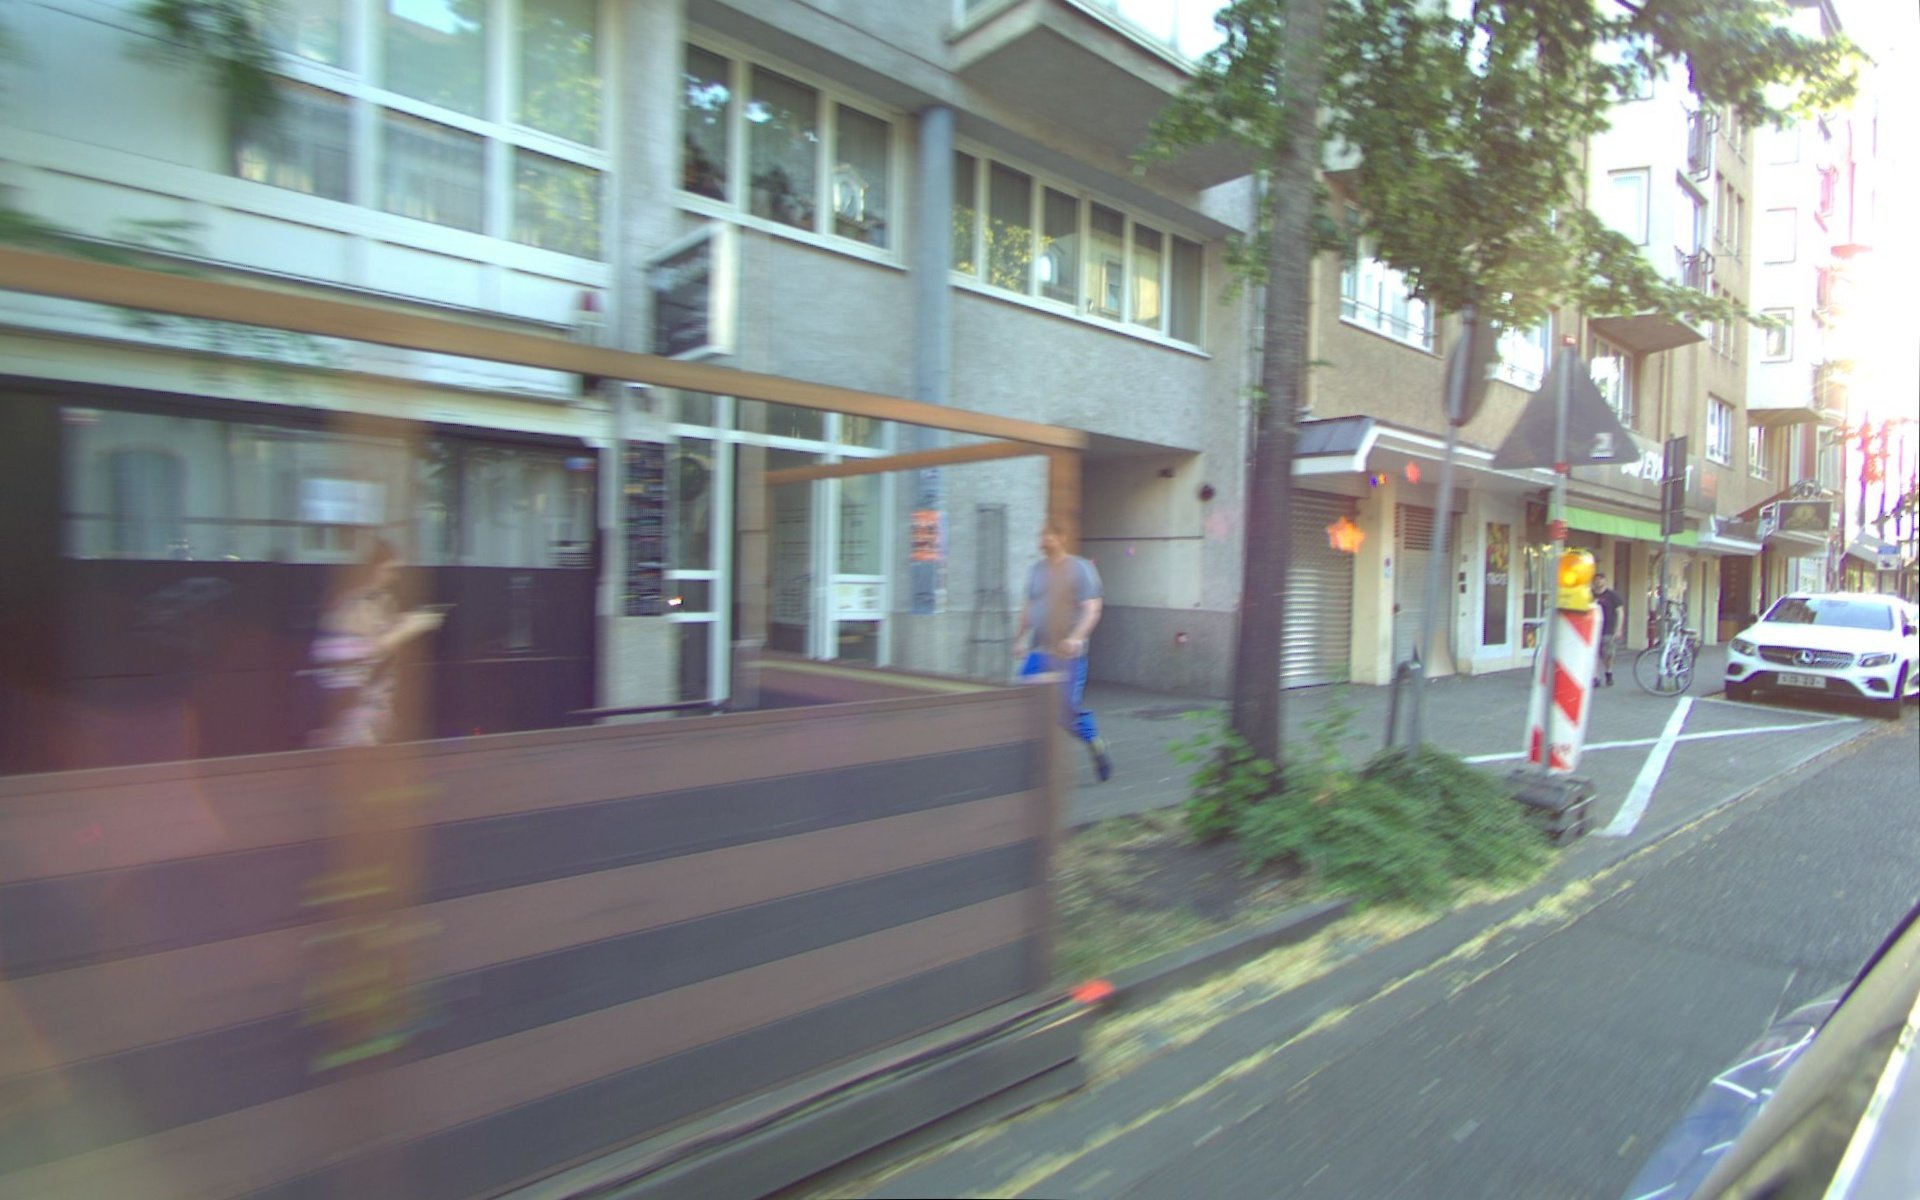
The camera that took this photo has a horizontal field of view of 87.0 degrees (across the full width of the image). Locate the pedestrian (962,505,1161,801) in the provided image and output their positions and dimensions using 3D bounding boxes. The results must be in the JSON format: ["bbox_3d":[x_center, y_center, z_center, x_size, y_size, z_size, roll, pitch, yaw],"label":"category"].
[{"bbox_3d":[0.683,0.307,6.852,0.979,1.816,0.857,0,2,-41],"label":"pedestrian"}]

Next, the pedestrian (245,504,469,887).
[{"bbox_3d":[-2.713,0.373,4.554,0.759,1.544,0.612,0,2,-41],"label":"pedestrian"}]

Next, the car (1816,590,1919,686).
[{"bbox_3d":[17.478,0.631,18.618,5.099,1.498,1.846,0,4,-41],"label":"car"}]

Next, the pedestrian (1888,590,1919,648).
[{"bbox_3d":[23.878,0.461,25.514,0.705,1.401,0.579,0,3,-41],"label":"pedestrian"}]

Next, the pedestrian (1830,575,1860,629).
[{"bbox_3d":[31.309,0.061,35.800,0.821,1.831,0.590,0,4,-41],"label":"pedestrian"}]

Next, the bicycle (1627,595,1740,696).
[{"bbox_3d":[10.233,0.599,14.287,2.014,1.277,0.777,0,3,-40],"label":"bicycle"}]

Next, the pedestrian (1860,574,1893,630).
[{"bbox_3d":[31.900,0.060,35.216,0.959,1.890,0.627,0,4,-41],"label":"pedestrian"}]

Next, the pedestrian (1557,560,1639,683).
[{"bbox_3d":[9.367,0.289,14.860,0.688,1.725,0.789,0,2,-41],"label":"pedestrian"}]

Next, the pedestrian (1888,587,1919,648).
[{"bbox_3d":[25.846,0.470,27.535,0.781,1.618,0.709,1,3,-41],"label":"pedestrian"}]

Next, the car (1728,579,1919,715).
[{"bbox_3d":[13.008,0.570,14.756,4.609,1.593,1.884,0,4,-41],"label":"car"}]

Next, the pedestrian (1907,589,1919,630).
[{"bbox_3d":[35.883,0.358,37.815,0.629,1.507,0.626,0,2,-40],"label":"pedestrian"}]
